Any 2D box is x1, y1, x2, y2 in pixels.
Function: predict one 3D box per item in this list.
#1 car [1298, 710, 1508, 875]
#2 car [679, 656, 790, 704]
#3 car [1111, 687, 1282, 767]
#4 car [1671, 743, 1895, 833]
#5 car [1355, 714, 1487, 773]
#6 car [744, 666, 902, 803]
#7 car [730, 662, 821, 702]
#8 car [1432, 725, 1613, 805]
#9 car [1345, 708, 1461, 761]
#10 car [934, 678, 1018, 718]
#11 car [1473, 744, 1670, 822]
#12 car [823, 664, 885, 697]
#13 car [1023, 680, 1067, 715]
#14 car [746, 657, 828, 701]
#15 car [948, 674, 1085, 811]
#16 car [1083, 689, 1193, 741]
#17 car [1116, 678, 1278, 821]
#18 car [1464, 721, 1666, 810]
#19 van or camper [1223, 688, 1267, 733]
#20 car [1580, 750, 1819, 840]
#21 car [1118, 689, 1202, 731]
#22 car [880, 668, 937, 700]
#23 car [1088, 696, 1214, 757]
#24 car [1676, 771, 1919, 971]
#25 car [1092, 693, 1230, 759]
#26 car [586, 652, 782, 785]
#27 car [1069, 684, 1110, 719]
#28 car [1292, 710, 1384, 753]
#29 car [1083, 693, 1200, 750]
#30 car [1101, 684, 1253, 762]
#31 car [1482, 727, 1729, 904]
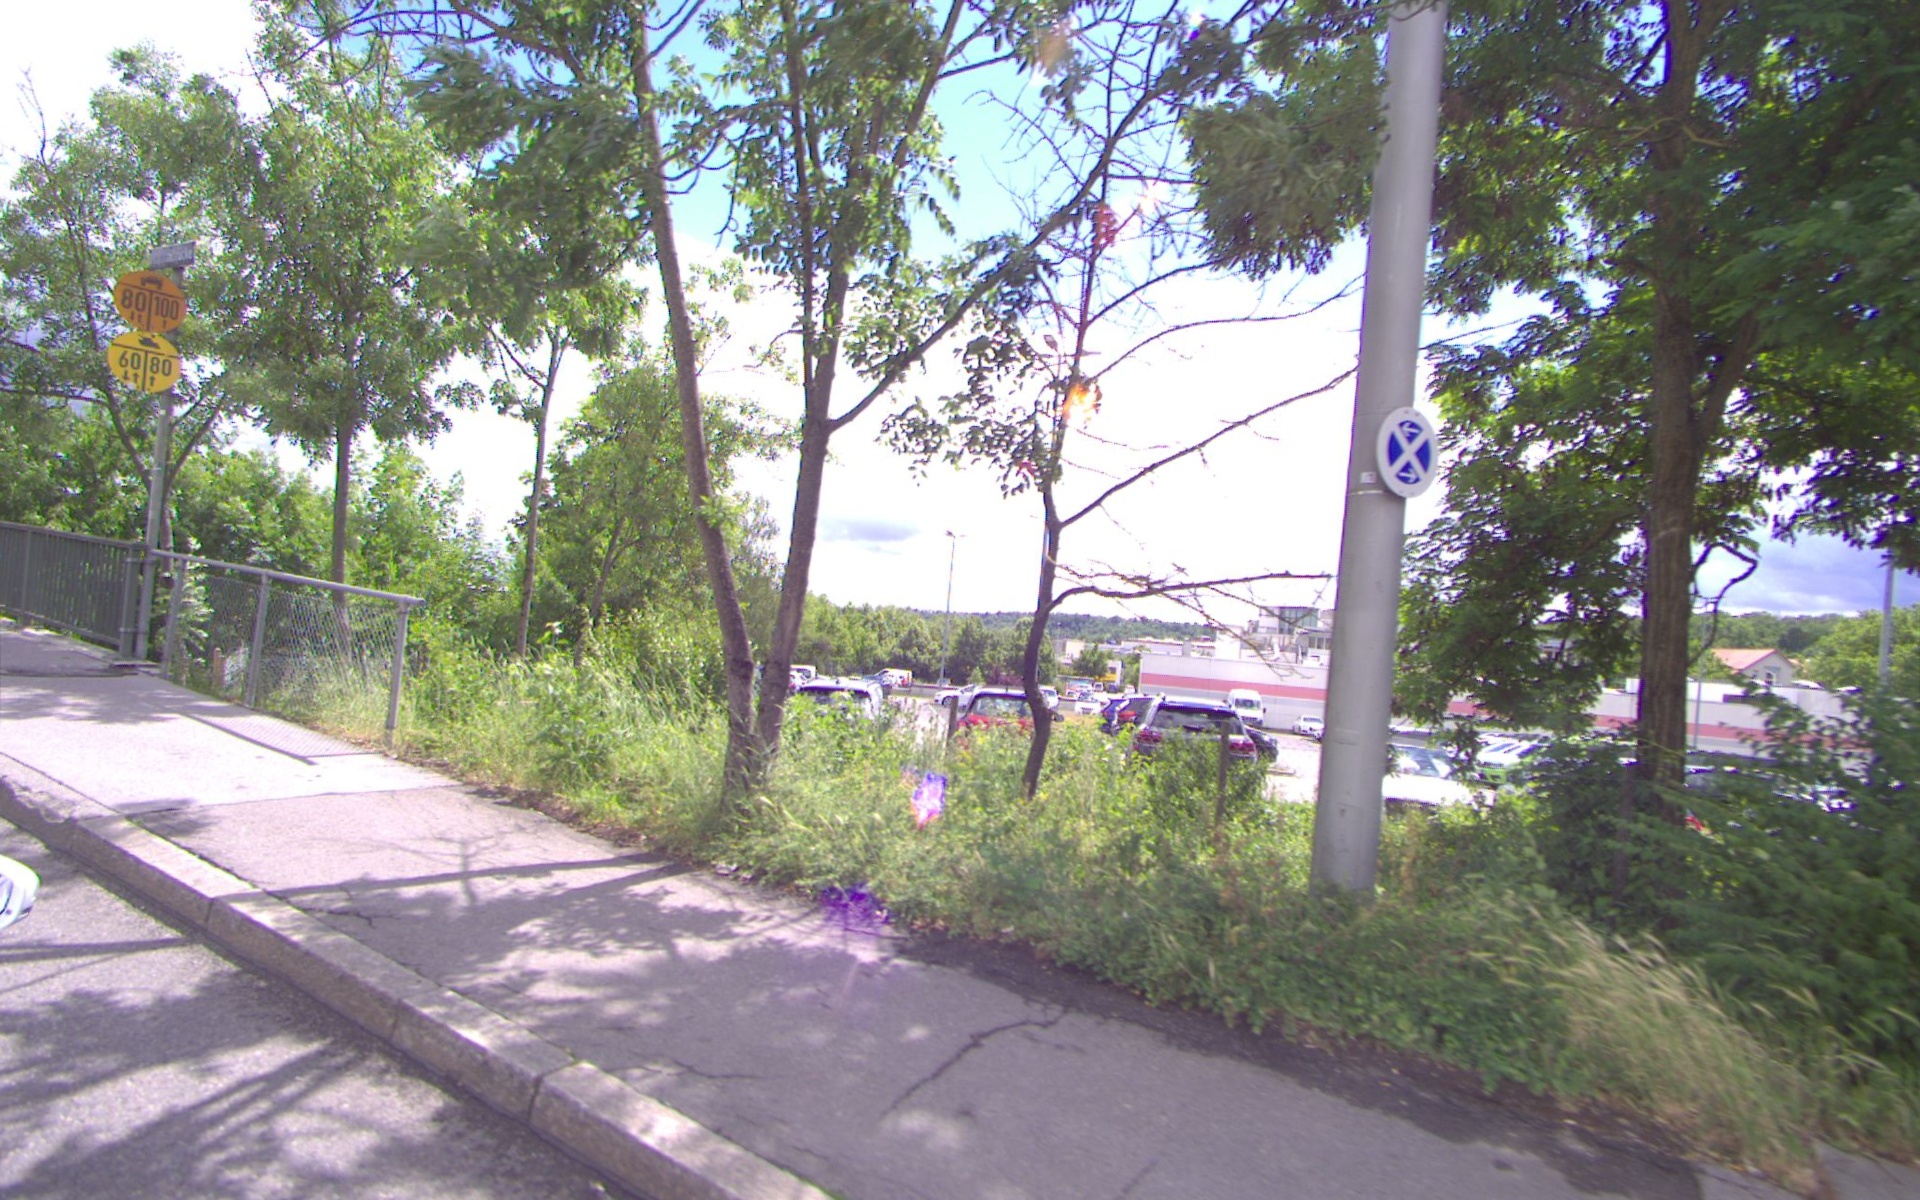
[{"bbox_3d":[6.314,2.650,14.880,1.836,1.688,4.357,5,-3,12],"label":"car"},{"bbox_3d":[-9.269,3.318,41.630,3.924,1.523,2.005,6,-5,5],"label":"car"},{"bbox_3d":[6.243,3.356,26.943,4.116,1.482,1.911,6,0,6],"label":"car"},{"bbox_3d":[22.810,5.174,28.041,4.359,1.804,2.005,6,-5,8],"label":"car"},{"bbox_3d":[19.157,5.958,41.966,4.472,1.725,1.911,6,0,6],"label":"car"},{"bbox_3d":[-2.074,2.054,16.473,1.837,1.688,4.354,6,-3,0],"label":"car"},{"bbox_3d":[-9.117,4.095,49.922,3.924,1.523,2.005,6,-5,5],"label":"car"},{"bbox_3d":[17.633,5.160,31.734,4.472,1.725,1.911,6,0,6],"label":"car"},{"bbox_3d":[20.580,6.248,46.883,4.472,1.725,1.911,6,0,6],"label":"car"},{"bbox_3d":[0.926,5.437,56.014,4.362,1.580,1.911,6,0,6],"label":"car"},{"bbox_3d":[15.724,4.701,26.062,3.923,1.405,1.726,5,-5,12],"label":"car"},{"bbox_3d":[-7.541,5.748,71.922,3.924,1.923,2.005,6,-4,5],"label":"car"},{"bbox_3d":[5.067,5.725,59.670,1.874,1.580,4.449,6,0,13],"label":"car"},{"bbox_3d":[-9.475,4.346,55.307,3.924,1.923,2.005,6,-4,5],"label":"car"},{"bbox_3d":[0.890,2.218,16.723,1.836,1.688,4.355,6,-3,2],"label":"car"},{"bbox_3d":[7.161,4.632,40.809,4.116,1.482,1.911,6,0,6],"label":"car"},{"bbox_3d":[3.573,2.206,15.946,1.836,1.688,4.356,6,-3,6],"label":"car"},{"bbox_3d":[17.272,4.710,28.897,4.559,1.894,1.725,6,-4,6],"label":"car"},{"bbox_3d":[19.182,7.449,68.010,1.891,2.719,5.317,5,-5,8],"label":"van or camper"},{"bbox_3d":[16.610,4.355,22.785,3.923,1.405,1.726,5,-5,12],"label":"car"},{"bbox_3d":[11.221,6.173,56.805,4.362,1.650,1.909,6,3,6],"label":"car"},{"bbox_3d":[-3.863,6.367,75.944,3.924,1.923,2.005,6,-4,5],"label":"car"},{"bbox_3d":[6.677,4.424,35.533,4.116,1.482,1.911,6,0,6],"label":"car"},{"bbox_3d":[11.198,3.369,13.047,1.837,1.688,4.354,5,-3,19],"label":"car"},{"bbox_3d":[6.464,4.062,32.775,4.116,1.482,1.911,6,0,6],"label":"car"},{"bbox_3d":[-4.303,1.792,16.459,1.837,1.688,4.354,6,-3,0],"label":"car"},{"bbox_3d":[7.710,5.978,59.662,1.874,1.580,4.449,6,0,13],"label":"car"},{"bbox_3d":[21.489,7.473,57.339,4.472,1.725,1.911,6,0,6],"label":"car"},{"bbox_3d":[6.809,4.566,38.100,4.116,1.482,1.911,6,0,6],"label":"car"},{"bbox_3d":[6.429,3.637,30.188,4.116,1.690,1.911,6,0,6],"label":"car"},{"bbox_3d":[8.837,2.841,14.218,1.837,1.688,4.354,5,-3,19],"label":"car"}]
